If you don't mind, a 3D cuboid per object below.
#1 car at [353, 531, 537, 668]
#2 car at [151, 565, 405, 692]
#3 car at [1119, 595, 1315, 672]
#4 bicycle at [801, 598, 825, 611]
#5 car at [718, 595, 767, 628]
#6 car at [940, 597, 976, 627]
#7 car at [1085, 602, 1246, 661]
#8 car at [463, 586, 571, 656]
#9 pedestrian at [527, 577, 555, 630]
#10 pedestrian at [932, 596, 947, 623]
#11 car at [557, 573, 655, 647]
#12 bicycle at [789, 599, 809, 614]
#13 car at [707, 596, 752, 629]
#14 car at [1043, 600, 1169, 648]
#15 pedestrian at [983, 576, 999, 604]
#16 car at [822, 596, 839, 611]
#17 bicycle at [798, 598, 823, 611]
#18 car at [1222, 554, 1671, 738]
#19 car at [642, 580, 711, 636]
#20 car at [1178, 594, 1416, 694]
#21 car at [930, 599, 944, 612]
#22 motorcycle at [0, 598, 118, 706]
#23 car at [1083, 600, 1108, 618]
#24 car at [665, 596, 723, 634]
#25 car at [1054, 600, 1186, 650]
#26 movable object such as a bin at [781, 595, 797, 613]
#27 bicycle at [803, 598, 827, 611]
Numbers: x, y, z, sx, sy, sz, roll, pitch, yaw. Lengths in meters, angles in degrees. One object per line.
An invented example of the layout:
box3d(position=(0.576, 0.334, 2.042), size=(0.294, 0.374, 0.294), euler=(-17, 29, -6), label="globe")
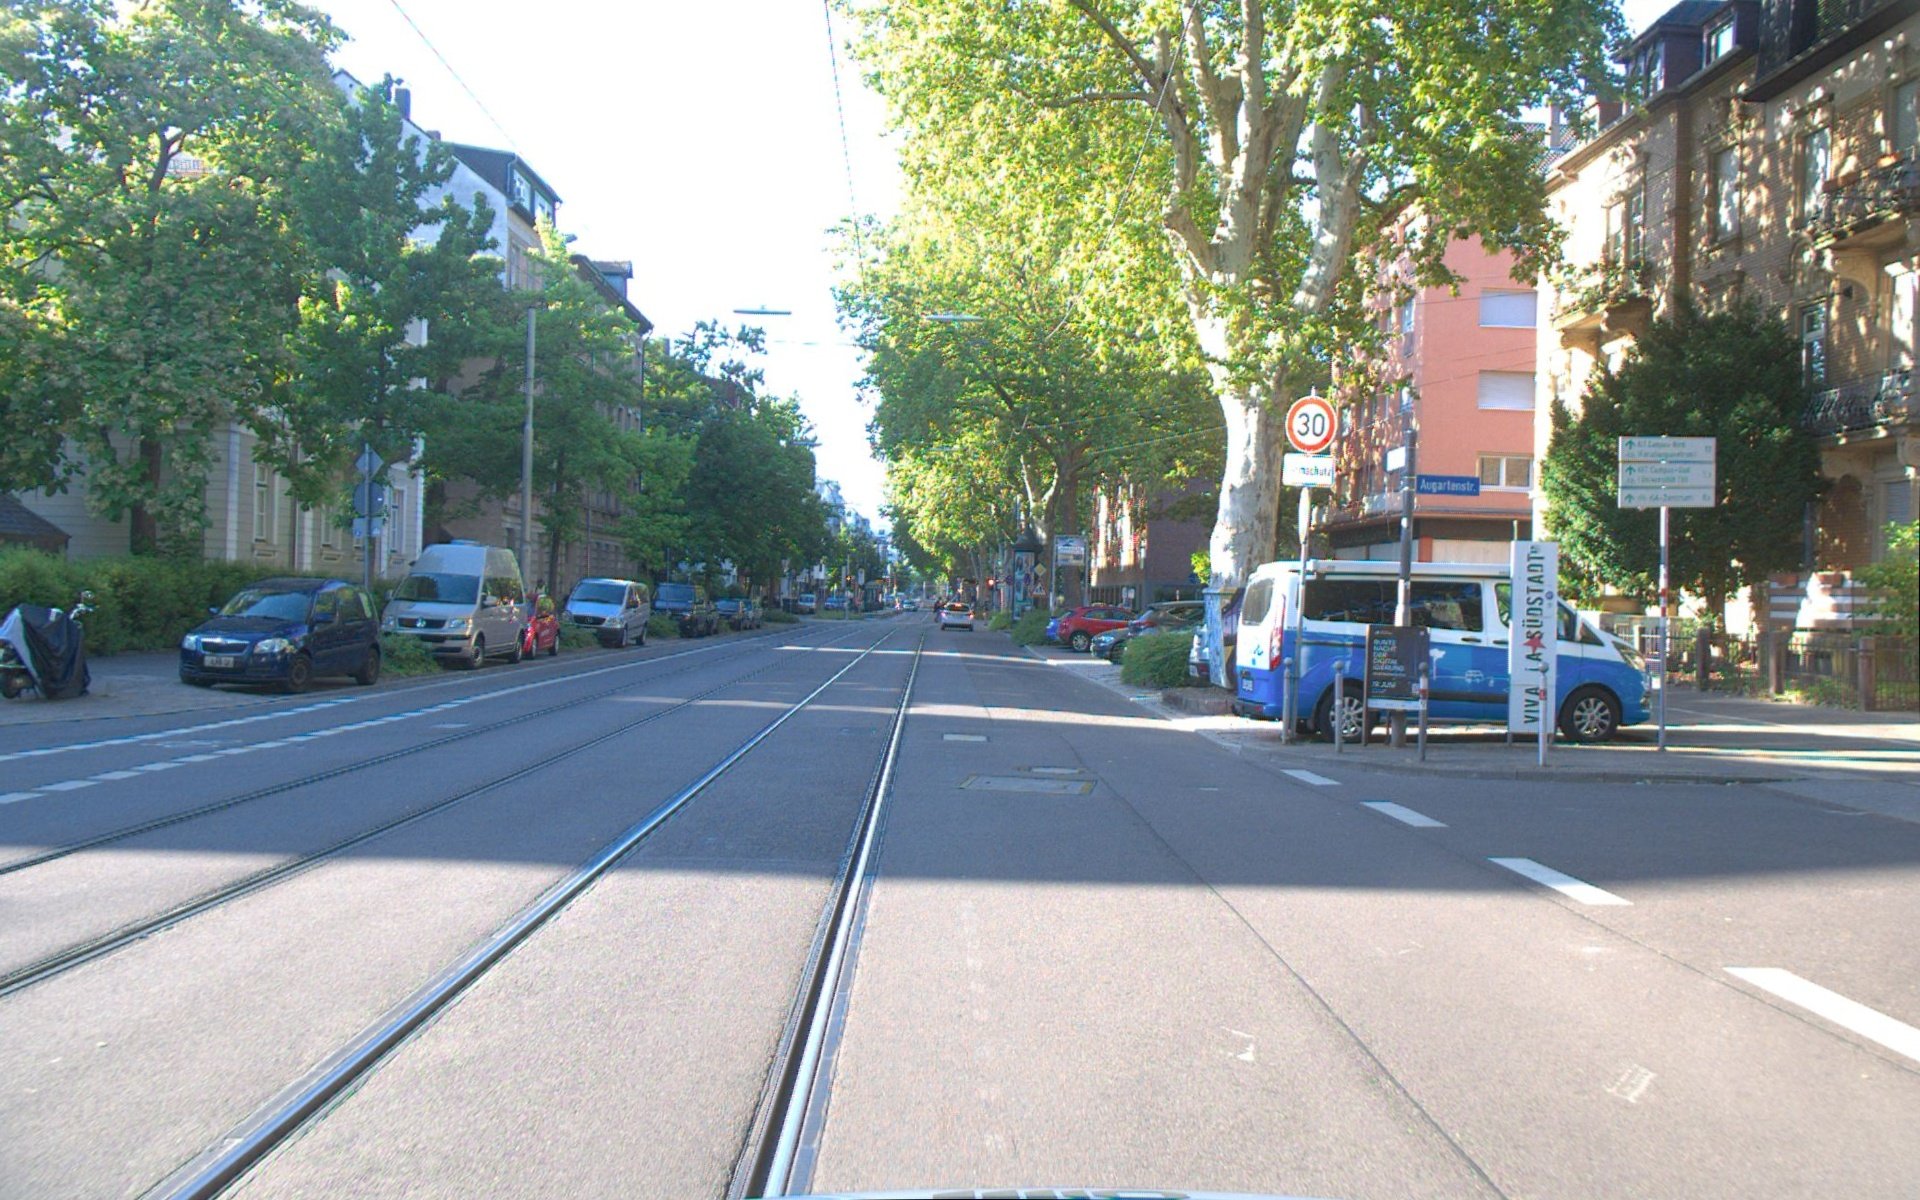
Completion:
box3d(position=(-10.418, -0.006, 33.946), size=(2.258, 2.552, 5.341), euler=(1, 0, -3), label="car")
box3d(position=(-10.153, 0.392, 25.010), size=(1.951, 1.720, 4.262), euler=(1, 0, 1), label="car")
box3d(position=(5.850, 0.744, 37.896), size=(4.117, 1.647, 1.877), euler=(1, 0, -4), label="car")
box3d(position=(-14.283, 0.405, 160.348), size=(2.207, 1.092, 0.636), euler=(4, 0, 0), label="bicycle")
box3d(position=(-11.038, 0.543, 84.186), size=(1.664, 1.577, 4.537), euler=(2, 0, 2), label="car")
box3d(position=(-0.126, 0.605, 86.827), size=(1.752, 1.540, 3.999), euler=(1, 0, -1), label="car")
box3d(position=(5.545, 0.843, 45.004), size=(4.115, 1.473, 1.817), euler=(1, 0, -2), label="car")
box3d(position=(-10.495, 0.472, 39.412), size=(1.651, 1.566, 3.706), euler=(1, 0, -2), label="car")
box3d(position=(-13.513, 0.108, 53.353), size=(0.592, 1.691, 0.947), euler=(2, 0, 0), label="pedestrian")
box3d(position=(-1.446, 0.668, 115.909), size=(0.975, 1.843, 0.863), euler=(1, 0, -7), label="pedestrian")
box3d(position=(-10.392, 0.273, 48.914), size=(1.806, 2.023, 4.987), euler=(1, 0, 0), label="car")
box3d(position=(-13.429, 0.527, 137.874), size=(1.503, 1.093, 0.885), euler=(4, 0, -2), label="bicycle")
box3d(position=(-10.942, 0.553, 78.623), size=(1.625, 1.470, 3.948), euler=(2, 0, -2), label="car")
box3d(position=(5.145, 0.821, 58.161), size=(4.310, 1.570, 1.819), euler=(1, 0, 6), label="car")
box3d(position=(2.140, -0.719, 114.454), size=(0.964, 1.896, 1.015), euler=(-2, 0, -6), label="pedestrian")
box3d(position=(-14.229, 0.382, 181.429), size=(1.561, 1.575, 3.999), euler=(3, 0, -1), label="car")
box3d(position=(-14.149, 0.419, 156.654), size=(2.207, 1.092, 0.636), euler=(4, 0, 0), label="bicycle")
box3d(position=(5.752, 0.510, 19.974), size=(4.750, 2.049, 2.192), euler=(0, 0, -5), label="car")
box3d(position=(-10.778, 0.294, 63.247), size=(1.953, 2.049, 4.832), euler=(1, 0, -2), label="car")
box3d(position=(5.782, 0.731, 28.648), size=(3.706, 1.647, 1.789), euler=(0, 0, -3), label="car")
box3d(position=(-2.935, 0.675, 208.079), size=(1.752, 1.540, 3.999), euler=(1, 0, -1), label="car")
box3d(position=(-11.400, 0.612, 20.560), size=(0.659, 1.159, 2.151), euler=(4, 2, 1), label="motorcycle")
box3d(position=(11.274, 0.741, 137.771), size=(1.568, 1.521, 3.415), euler=(1, 0, -3), label="car")
box3d(position=(-10.974, 0.586, 68.412), size=(1.816, 1.484, 4.268), euler=(1, 0, -2), label="car")
box3d(position=(5.365, 0.821, 55.881), size=(4.312, 1.570, 1.952), euler=(1, 0, 1), label="car")
box3d(position=(-14.023, 0.334, 135.790), size=(1.147, 1.371, 0.782), euler=(5, -1, -5), label="movable object such as a bin")
box3d(position=(-14.356, 0.427, 163.924), size=(2.207, 1.092, 0.636), euler=(4, 0, 0), label="bicycle")
